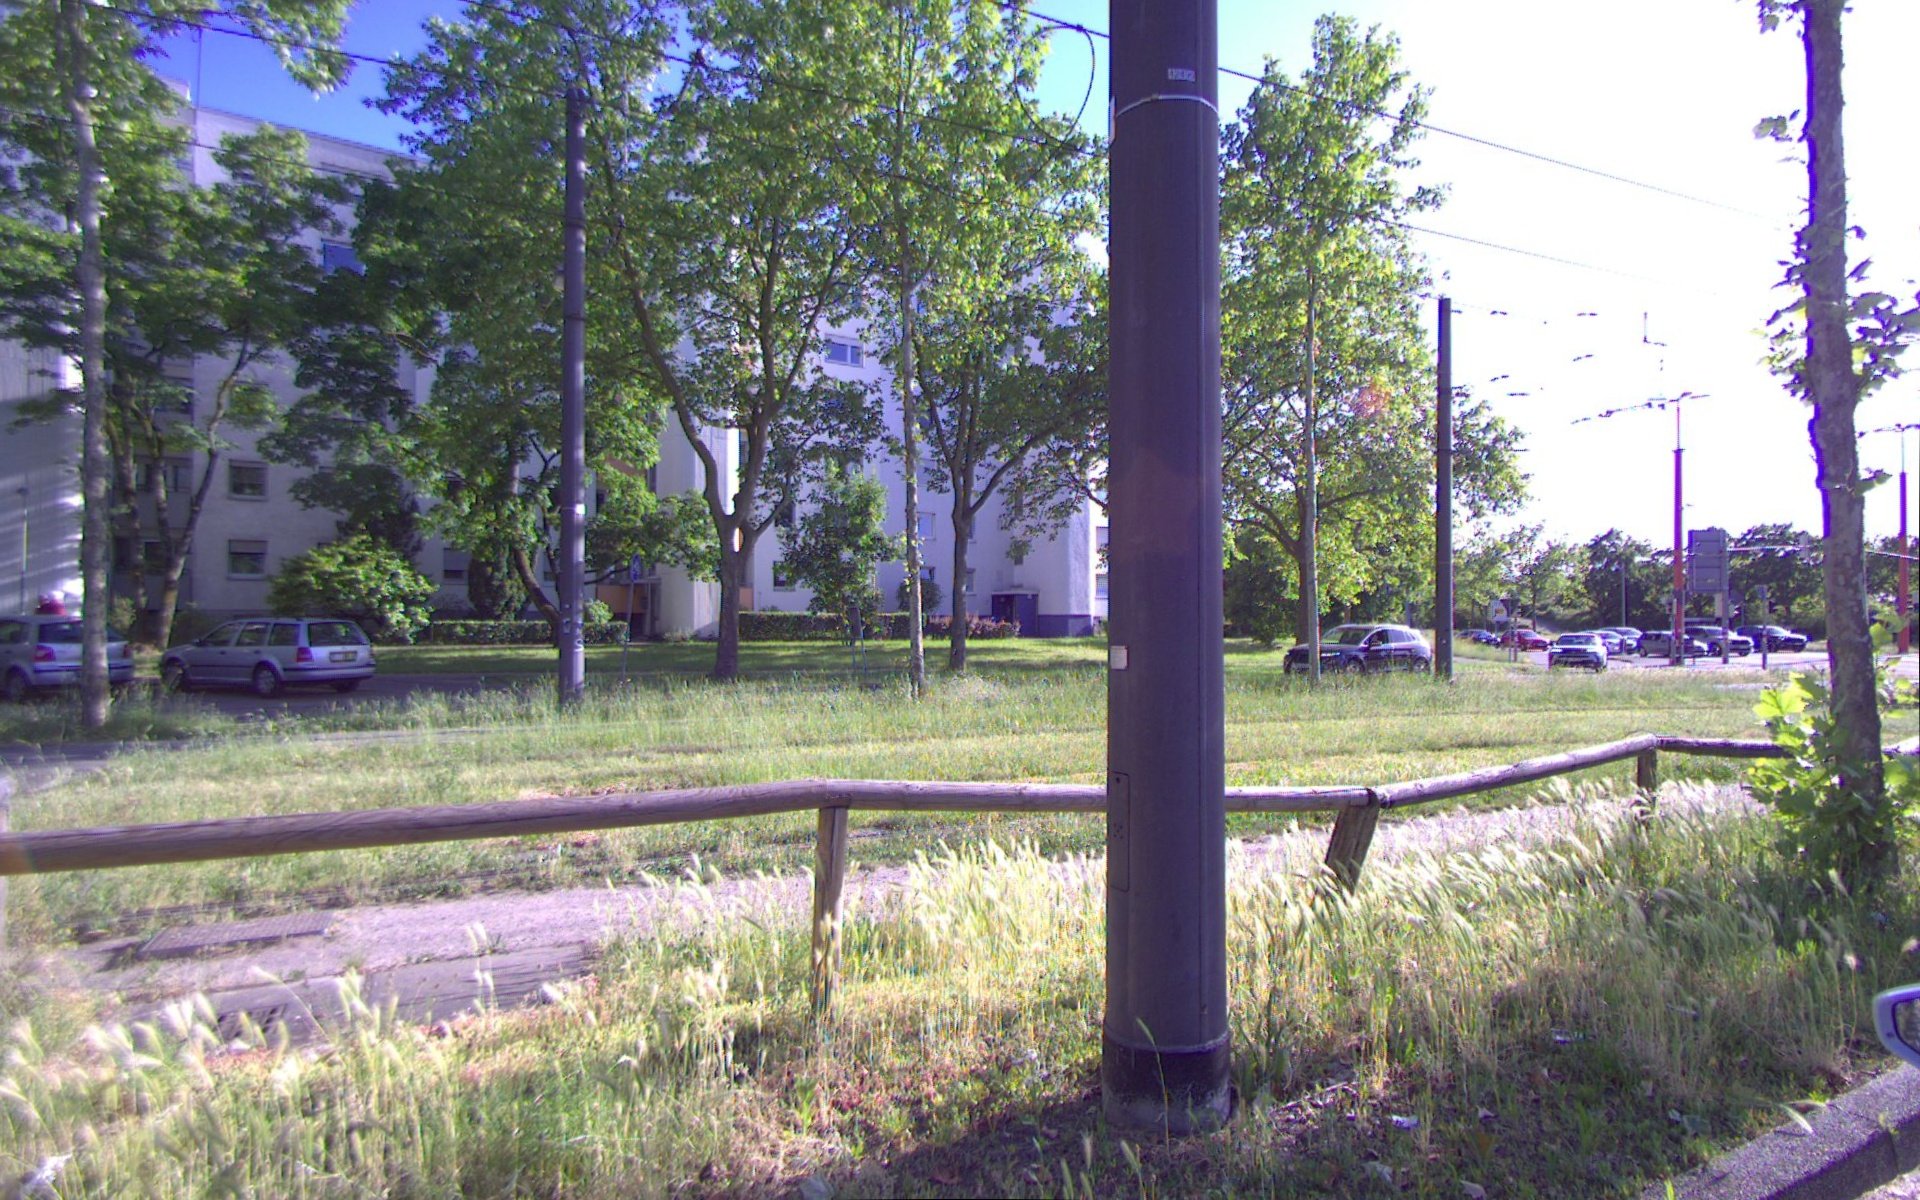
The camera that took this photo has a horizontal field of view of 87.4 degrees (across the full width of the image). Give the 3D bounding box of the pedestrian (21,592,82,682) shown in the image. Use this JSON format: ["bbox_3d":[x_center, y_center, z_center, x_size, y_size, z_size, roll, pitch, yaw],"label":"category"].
[{"bbox_3d":[-18.559,0.750,20.536,0.746,1.780,0.757,1,-1,-29],"label":"pedestrian"}]

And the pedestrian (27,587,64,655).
[{"bbox_3d":[-24.446,0.566,26.860,0.628,1.780,0.518,1,-1,-32],"label":"pedestrian"}]

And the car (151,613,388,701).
[{"bbox_3d":[-13.237,1.035,19.286,3.898,1.462,1.710,1,0,18],"label":"car"}]

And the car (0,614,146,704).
[{"bbox_3d":[-16.610,0.994,17.916,3.547,1.439,1.576,1,0,18],"label":"car"}]

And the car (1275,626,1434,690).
[{"bbox_3d":[10.348,1.479,26.300,4.054,1.532,1.756,1,-1,-30],"label":"car"}]

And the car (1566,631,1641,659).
[{"bbox_3d":[40.397,2.801,63.127,1.833,1.633,4.185,1,-1,-4],"label":"car"}]

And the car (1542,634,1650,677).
[{"bbox_3d":[24.583,2.104,38.799,4.280,1.543,1.797,1,-1,-31],"label":"car"}]

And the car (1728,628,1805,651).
[{"bbox_3d":[50.096,2.449,62.485,1.664,1.347,4.001,1,-1,2],"label":"car"}]

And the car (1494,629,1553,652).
[{"bbox_3d":[39.872,2.821,71.170,1.699,1.533,3.998,1,-1,-4],"label":"car"}]

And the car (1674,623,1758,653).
[{"bbox_3d":[43.959,2.195,58.514,1.960,1.666,4.001,1,-1,2],"label":"car"}]
